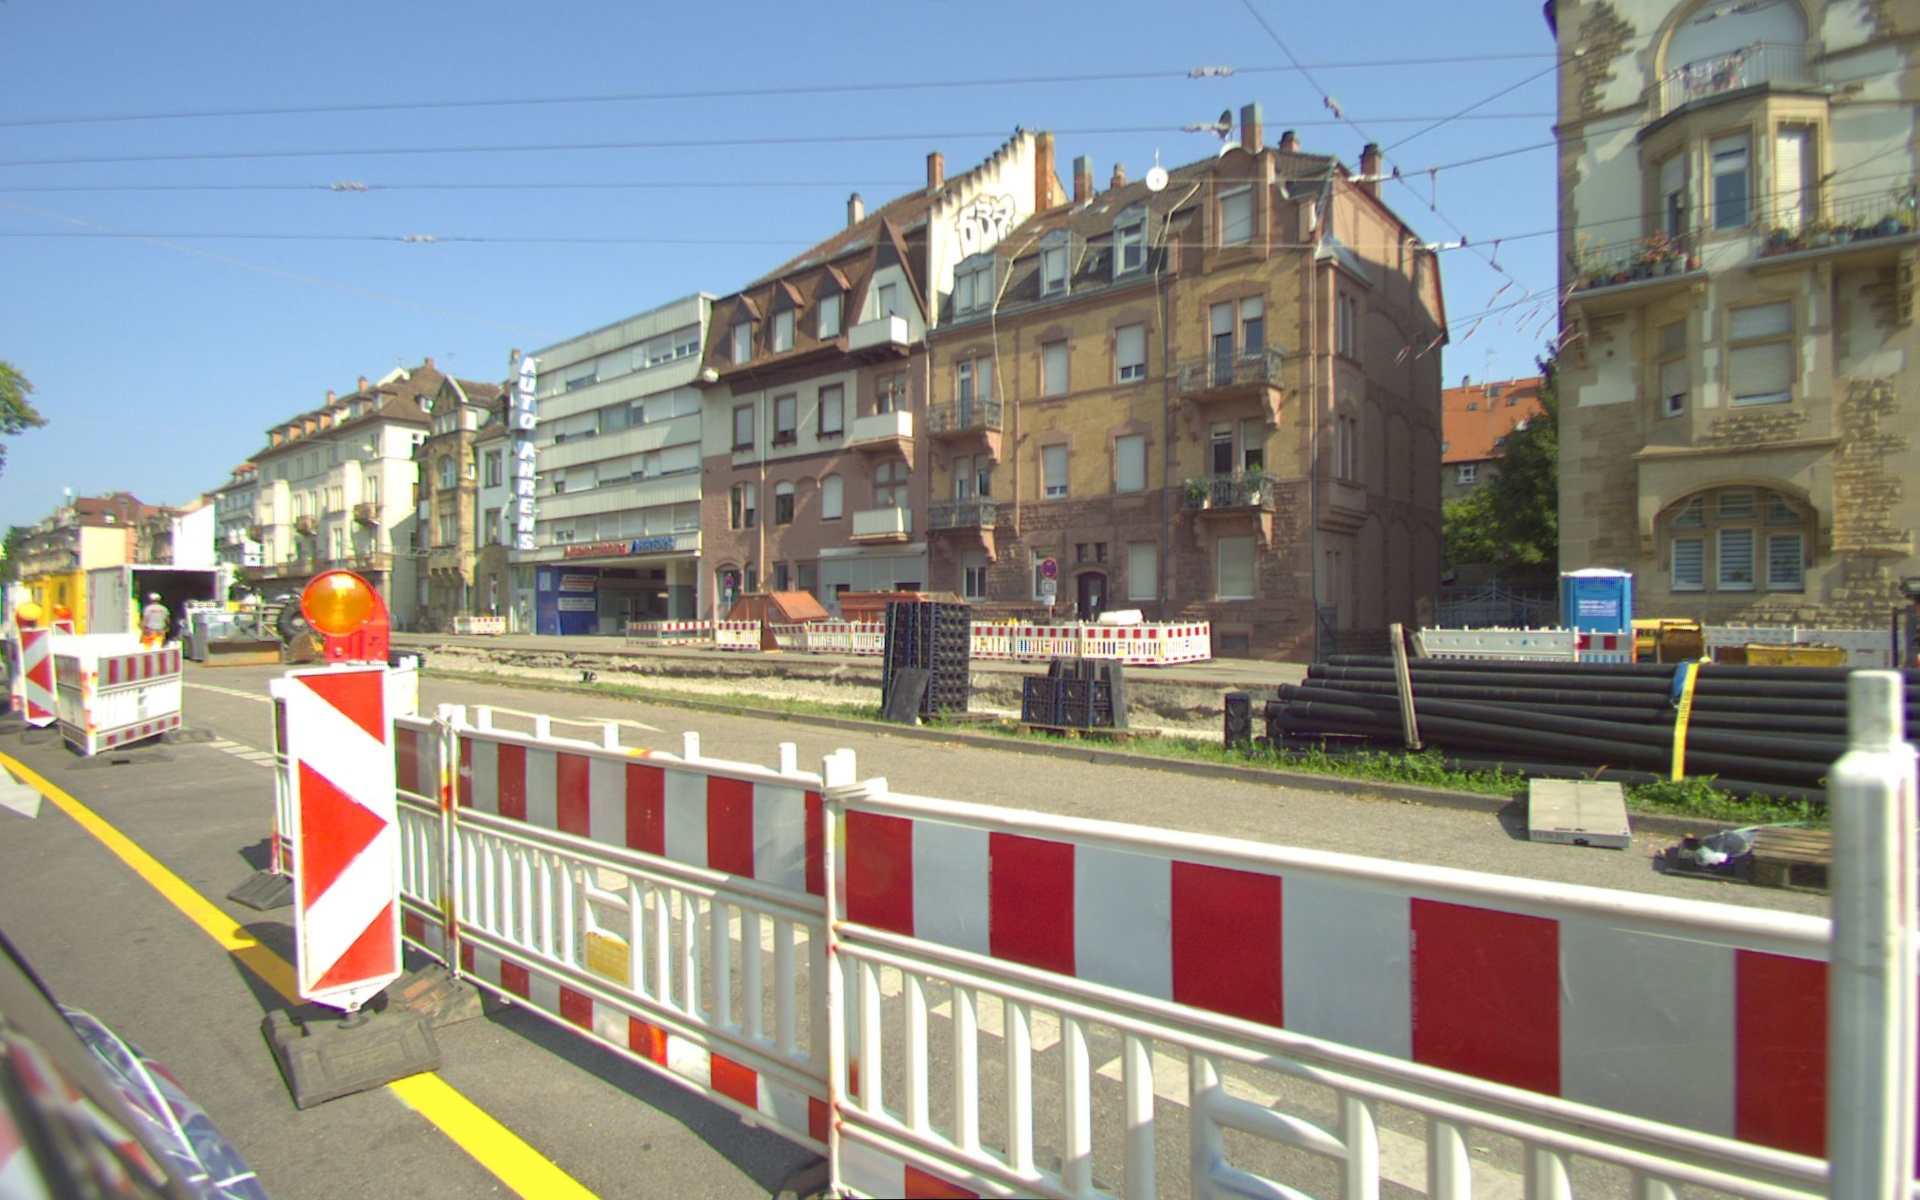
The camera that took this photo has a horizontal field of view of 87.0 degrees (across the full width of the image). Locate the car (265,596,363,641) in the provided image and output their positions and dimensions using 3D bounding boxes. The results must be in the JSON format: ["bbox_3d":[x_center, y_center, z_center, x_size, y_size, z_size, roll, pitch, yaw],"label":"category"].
[{"bbox_3d":[-33.229,0.922,51.933,7.118,2.151,2.336,0,-1,41],"label":"car"}]

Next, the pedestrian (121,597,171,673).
[{"bbox_3d":[-19.810,0.860,24.629,0.596,1.811,0.793,-1,-3,41],"label":"pedestrian"}]
